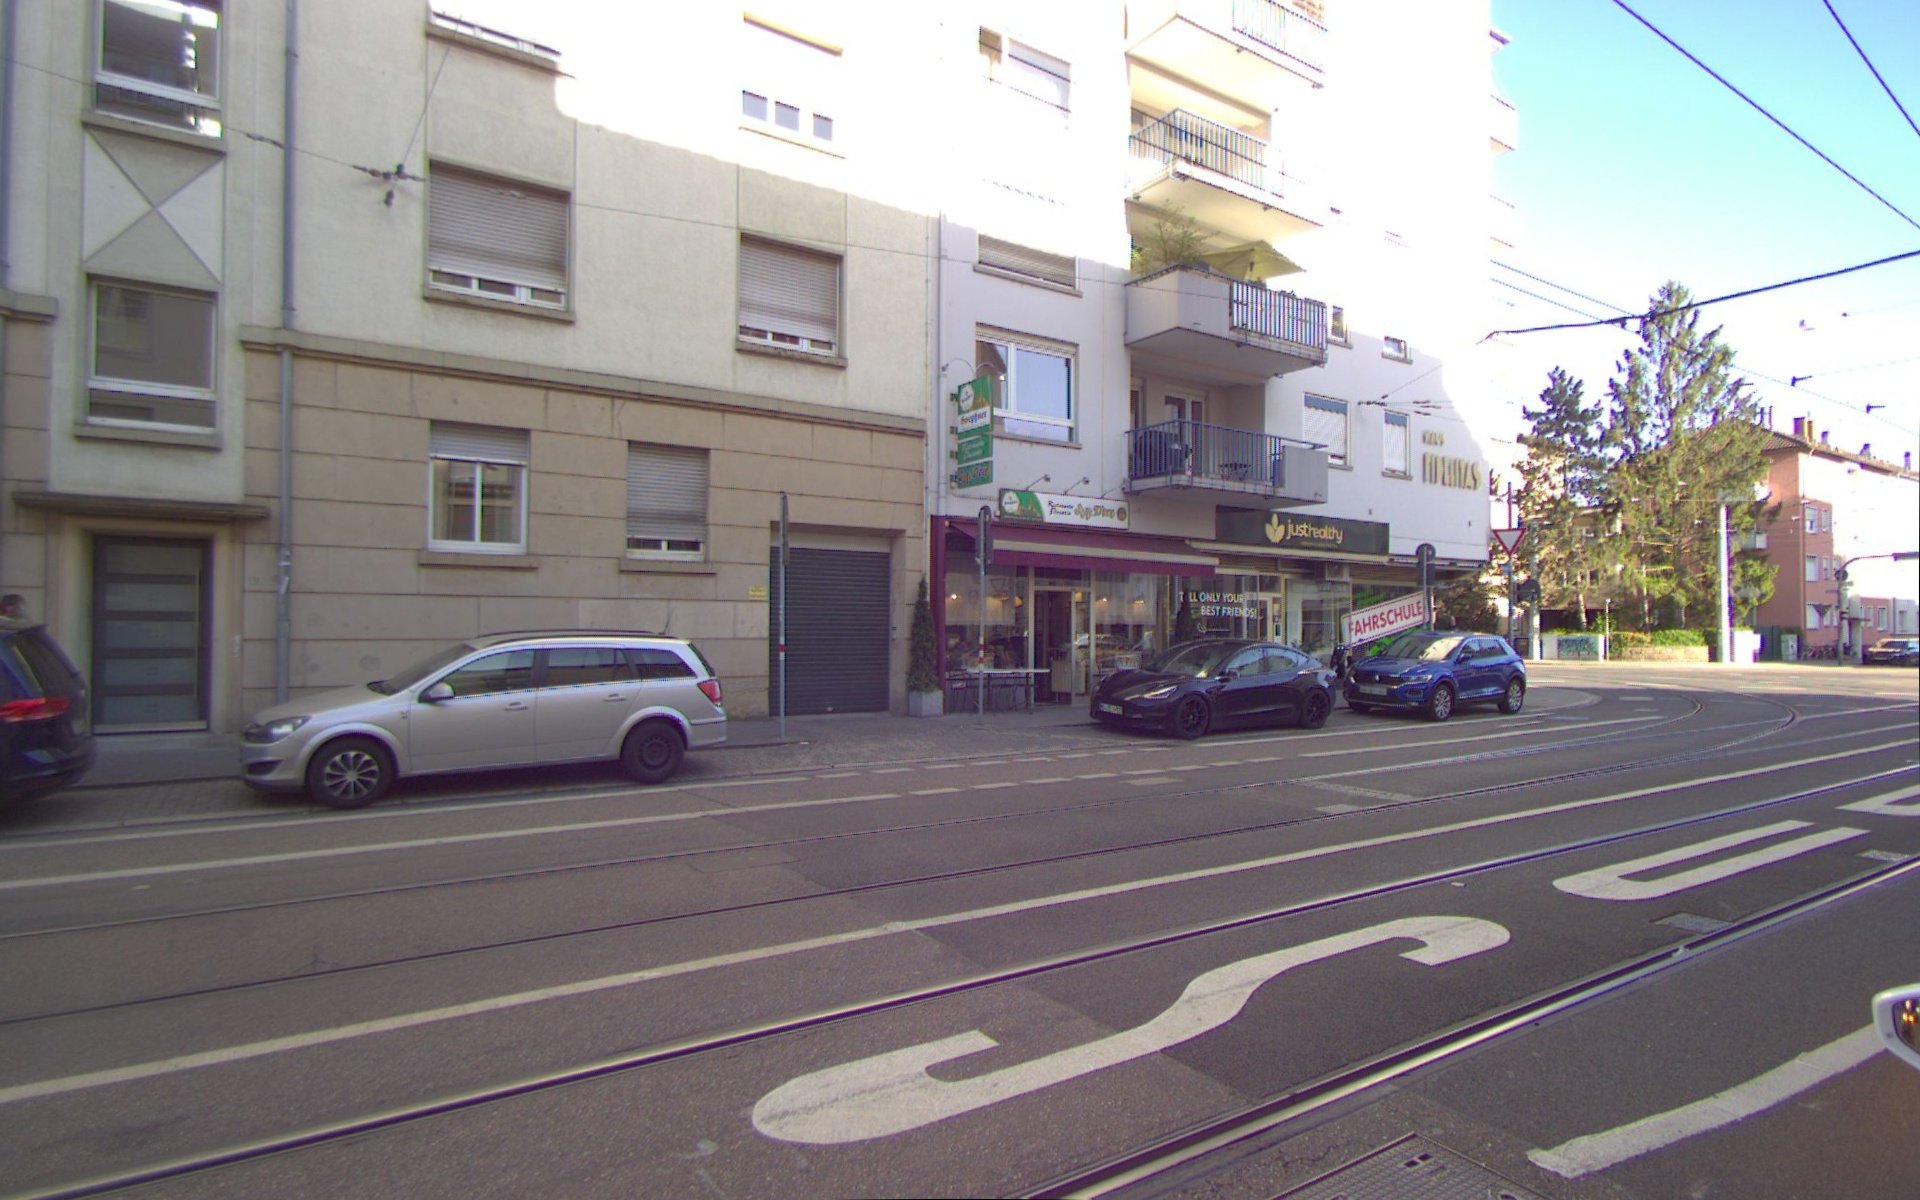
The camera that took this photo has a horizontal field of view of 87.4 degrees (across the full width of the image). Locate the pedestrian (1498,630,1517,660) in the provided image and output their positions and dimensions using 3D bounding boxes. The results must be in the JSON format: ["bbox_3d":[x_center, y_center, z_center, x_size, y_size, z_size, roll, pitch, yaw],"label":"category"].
[{"bbox_3d":[31.552,2.588,57.852,0.800,1.725,0.676,-1,-2,44],"label":"pedestrian"}]

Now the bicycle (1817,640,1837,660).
[{"bbox_3d":[47.612,2.748,55.169,1.895,1.097,0.532,2,-2,-41],"label":"bicycle"}]

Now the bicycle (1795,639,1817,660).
[{"bbox_3d":[46.888,2.725,55.636,1.895,1.097,0.634,2,-2,-41],"label":"bicycle"}]

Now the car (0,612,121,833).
[{"bbox_3d":[-8.987,0.881,7.193,4.343,1.620,1.785,1,-1,-34],"label":"car"}]

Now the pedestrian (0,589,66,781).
[{"bbox_3d":[-8.862,0.775,9.325,0.722,1.731,0.600,1,-2,-32],"label":"pedestrian"}]

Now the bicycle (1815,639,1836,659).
[{"bbox_3d":[50.747,2.861,58.885,1.892,1.097,0.533,1,-2,-37],"label":"bicycle"}]

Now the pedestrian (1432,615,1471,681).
[{"bbox_3d":[14.017,1.353,28.674,0.707,1.859,0.771,0,-1,-3],"label":"pedestrian"}]

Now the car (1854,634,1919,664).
[{"bbox_3d":[49.731,2.617,53.787,3.961,1.539,1.938,1,-2,-36],"label":"car"}]

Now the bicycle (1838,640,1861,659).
[{"bbox_3d":[53.163,2.938,60.029,1.892,1.097,0.605,1,-2,-37],"label":"bicycle"}]

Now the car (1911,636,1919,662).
[{"bbox_3d":[58.133,2.898,59.456,3.961,1.539,1.938,1,-2,-36],"label":"car"}]

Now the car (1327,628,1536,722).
[{"bbox_3d":[8.998,1.346,19.086,4.072,1.525,1.714,1,1,-34],"label":"car"}]

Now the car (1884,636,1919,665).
[{"bbox_3d":[54.279,2.841,57.017,4.006,1.539,1.938,1,-2,-36],"label":"car"}]

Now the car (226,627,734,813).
[{"bbox_3d":[-4.700,1.050,10.215,4.343,1.497,1.785,1,-1,-34],"label":"car"}]

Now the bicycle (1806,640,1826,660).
[{"bbox_3d":[47.184,2.735,55.344,1.895,1.097,0.532,2,-2,-41],"label":"bicycle"}]

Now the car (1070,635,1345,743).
[{"bbox_3d":[4.019,1.316,16.043,4.442,1.422,1.714,1,1,-34],"label":"car"}]
